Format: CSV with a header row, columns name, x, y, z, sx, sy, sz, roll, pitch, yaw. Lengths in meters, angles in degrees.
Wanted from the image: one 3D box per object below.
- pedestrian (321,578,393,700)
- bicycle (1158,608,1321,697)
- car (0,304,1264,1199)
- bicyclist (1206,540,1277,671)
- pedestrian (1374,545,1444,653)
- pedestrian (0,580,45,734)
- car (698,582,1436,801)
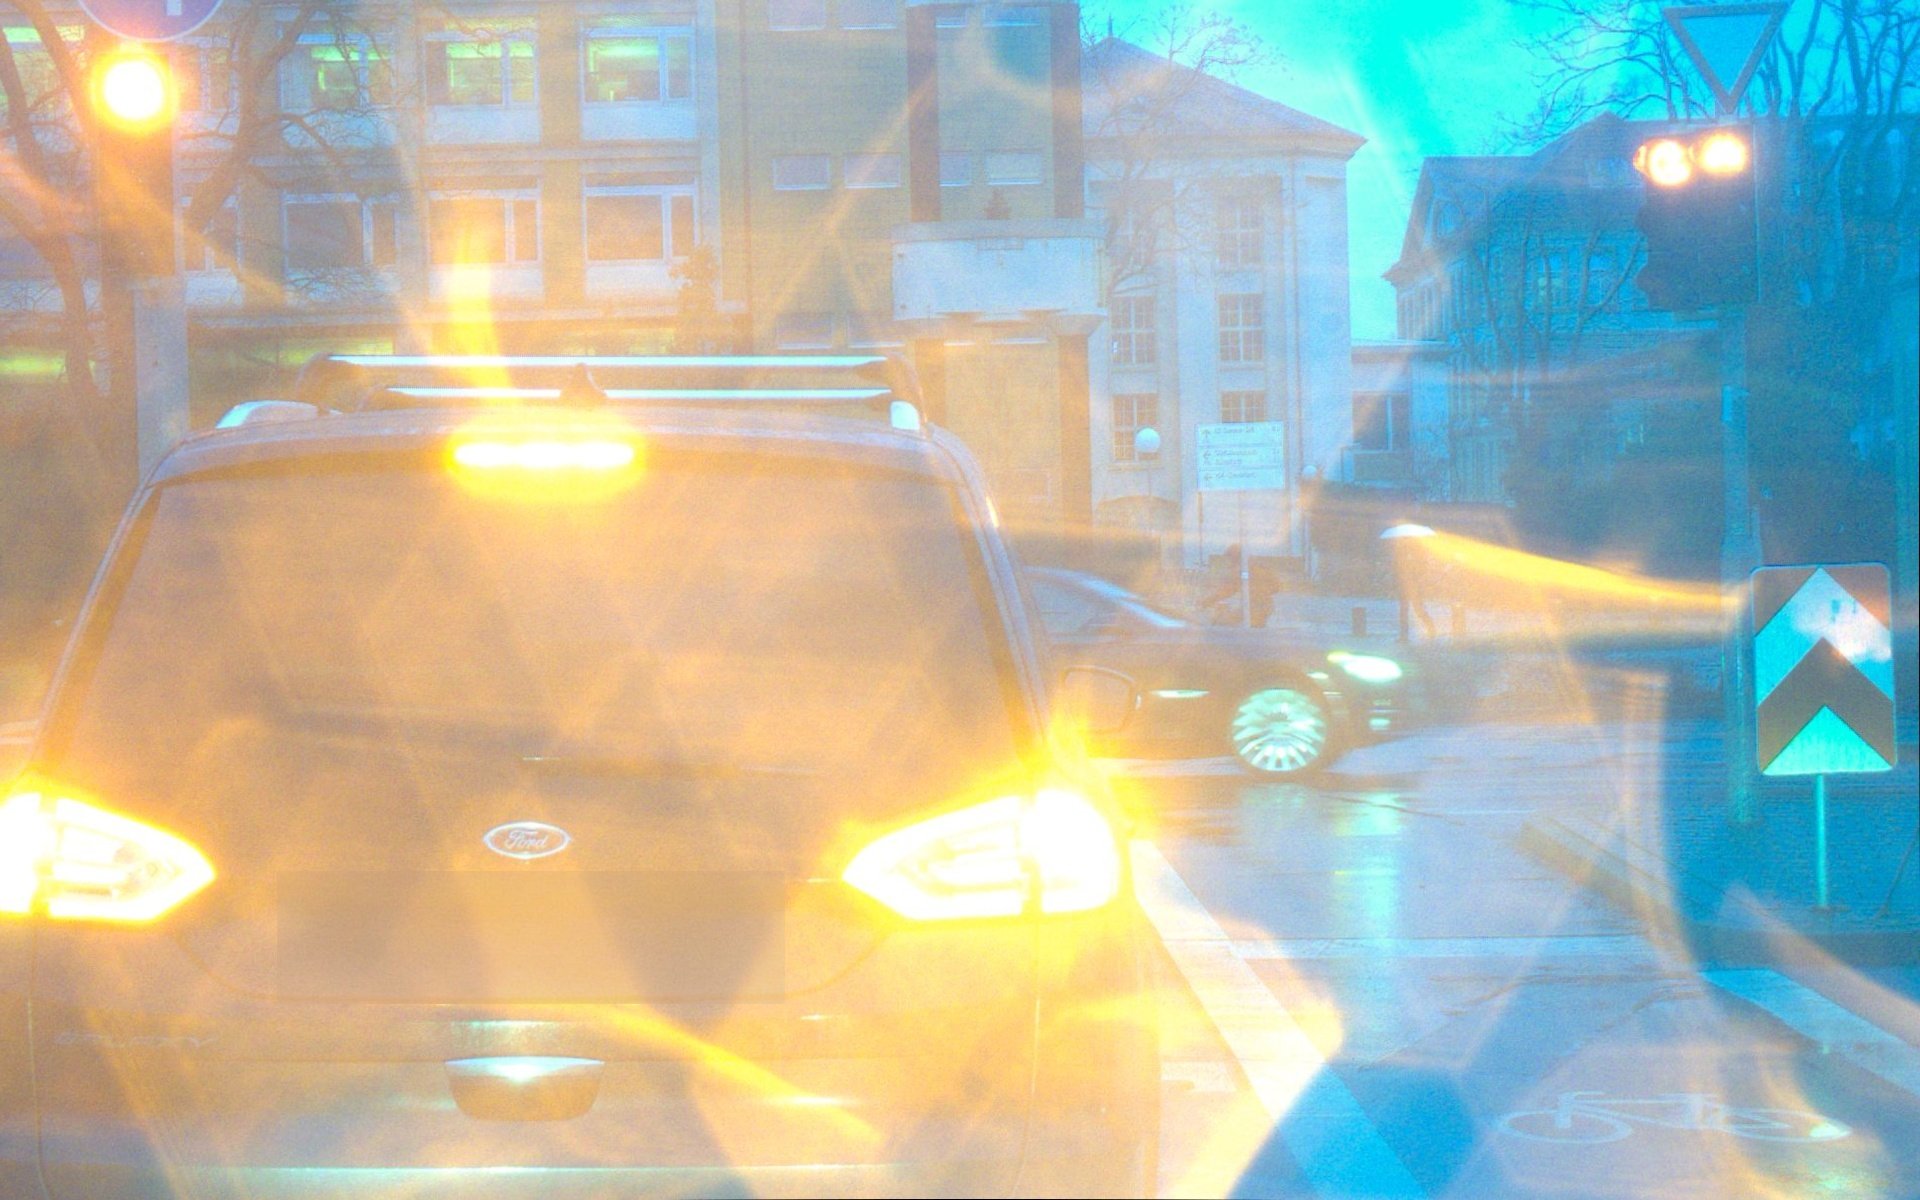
name,x,y,z,sx,sy,sz,roll,pitch,yaw
pedestrian,-8.249,0.527,47.045,0.760,1.622,0.557,-2,1,13
bicycle,3.472,0.651,42.707,1.885,1.044,0.659,-2,1,20
car,-0.628,0.488,6.566,1.993,1.783,4.000,1,1,-1
bicyclist,3.500,0.067,42.674,0.685,1.594,0.659,-2,1,20
pedestrian,6.929,-0.015,53.017,0.721,1.622,0.760,-1,2,42
pedestrian,-12.220,0.720,42.821,1.002,1.836,1.138,-2,3,23
car,0.777,0.600,23.120,4.686,1.297,1.938,-2,0,11
